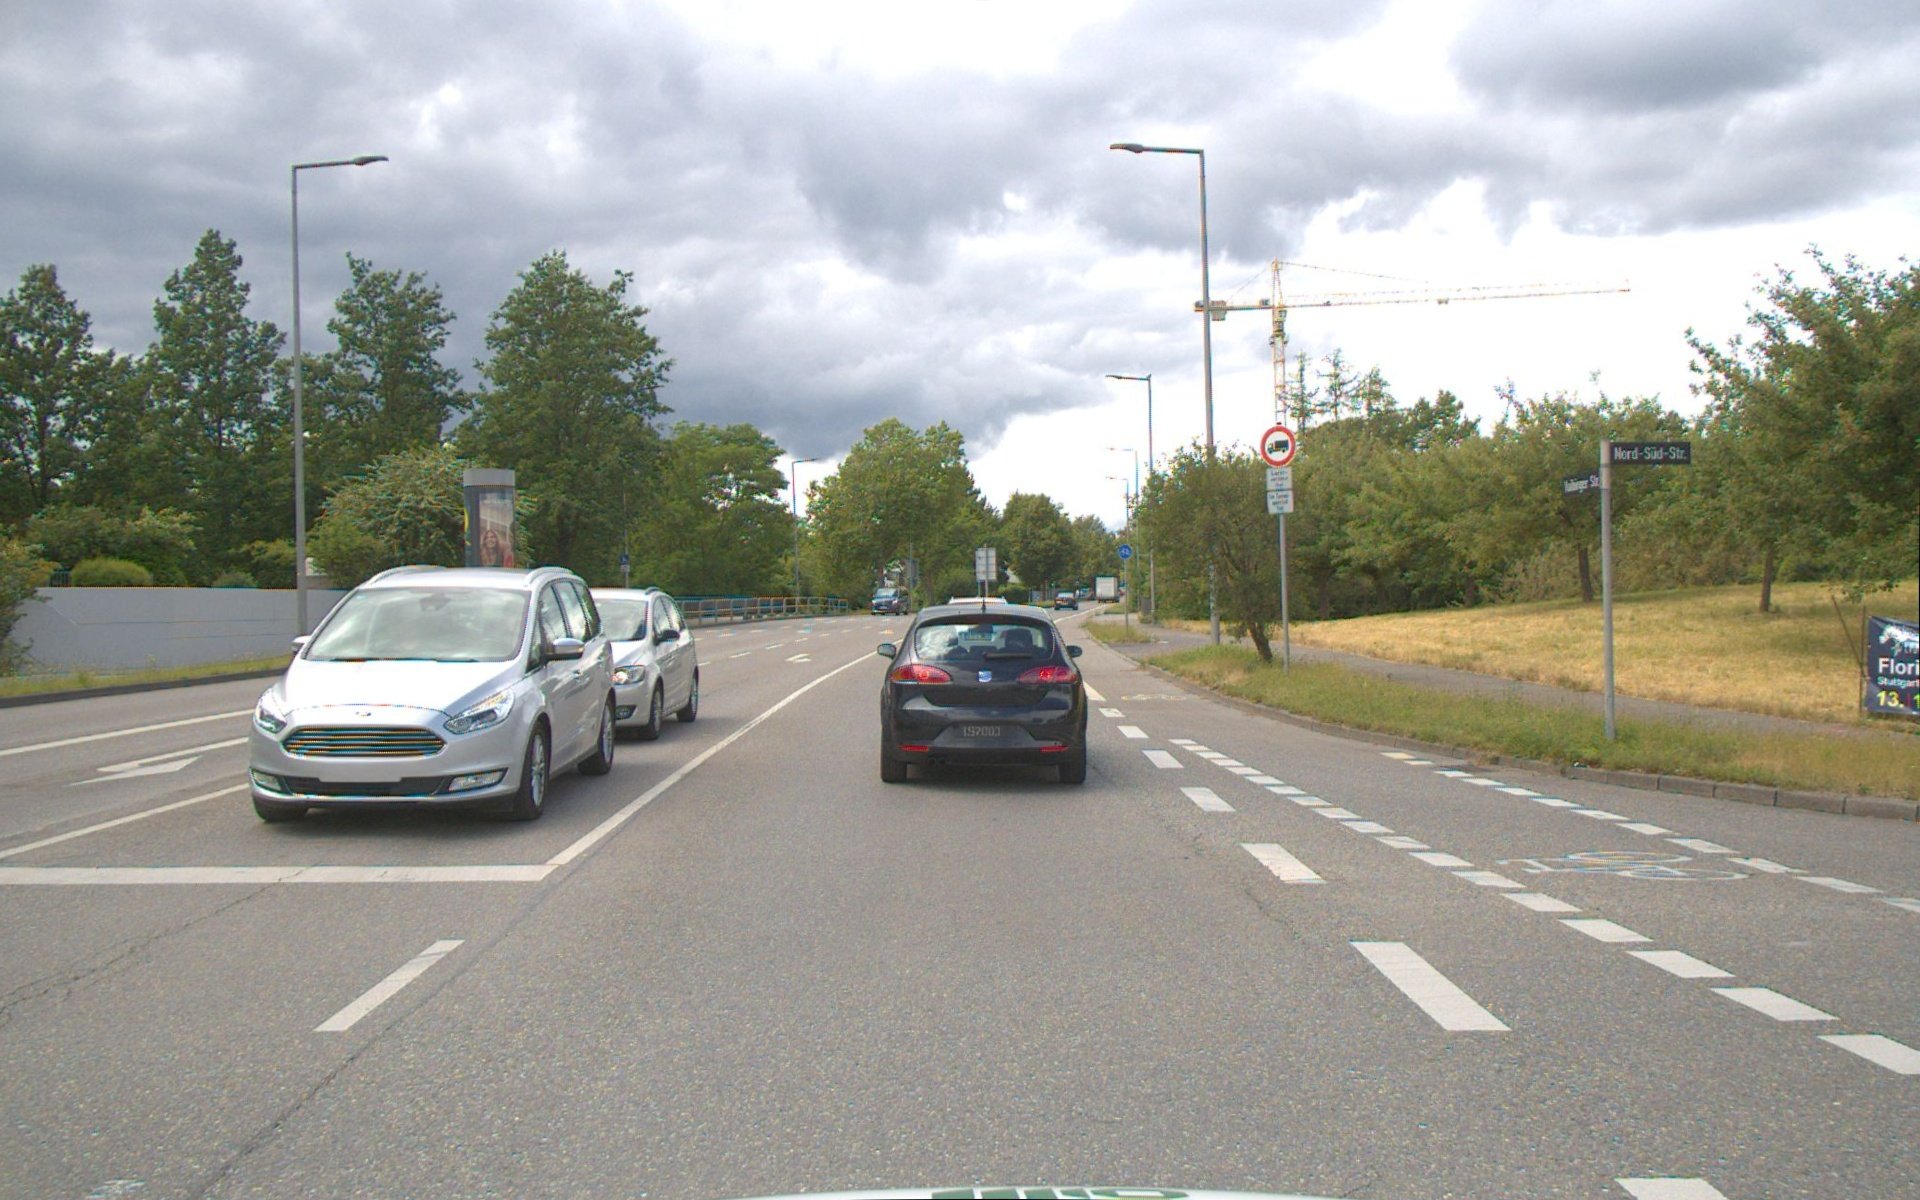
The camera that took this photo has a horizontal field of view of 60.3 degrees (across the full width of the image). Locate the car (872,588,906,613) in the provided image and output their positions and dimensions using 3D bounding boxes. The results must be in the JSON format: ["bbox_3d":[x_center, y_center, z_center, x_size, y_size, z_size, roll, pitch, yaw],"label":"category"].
[{"bbox_3d":[-4.811,0.043,112.115,1.678,1.609,3.745,1,-1,7],"label":"car"}]

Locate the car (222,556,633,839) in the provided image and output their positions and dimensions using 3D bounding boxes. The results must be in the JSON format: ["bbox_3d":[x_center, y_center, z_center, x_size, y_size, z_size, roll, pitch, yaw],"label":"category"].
[{"bbox_3d":[-3.713,0.585,12.446,1.784,1.716,4.642,1,0,-3],"label":"car"}]

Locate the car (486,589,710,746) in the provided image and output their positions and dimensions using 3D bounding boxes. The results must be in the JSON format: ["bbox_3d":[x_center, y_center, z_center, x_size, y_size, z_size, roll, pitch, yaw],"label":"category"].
[{"bbox_3d":[-3.900,0.658,18.450,1.626,1.545,4.084,1,0,-1],"label":"car"}]

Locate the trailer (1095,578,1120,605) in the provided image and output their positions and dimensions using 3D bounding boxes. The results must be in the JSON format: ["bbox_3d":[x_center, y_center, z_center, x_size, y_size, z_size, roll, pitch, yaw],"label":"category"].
[{"bbox_3d":[18.034,-1.000,201.843,2.438,3.127,5.591,1,-1,11],"label":"trailer"}]

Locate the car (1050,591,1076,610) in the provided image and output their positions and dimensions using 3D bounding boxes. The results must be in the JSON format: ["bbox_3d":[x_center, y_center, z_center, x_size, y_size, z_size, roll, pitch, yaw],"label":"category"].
[{"bbox_3d":[8.587,0.025,137.458,1.951,1.593,4.474,0,0,6],"label":"car"}]

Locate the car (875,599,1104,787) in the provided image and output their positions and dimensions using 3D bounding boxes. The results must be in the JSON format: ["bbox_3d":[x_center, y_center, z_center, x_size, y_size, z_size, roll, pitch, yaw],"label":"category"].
[{"bbox_3d":[0.145,0.726,14.562,1.678,1.442,3.456,1,0,-5],"label":"car"}]

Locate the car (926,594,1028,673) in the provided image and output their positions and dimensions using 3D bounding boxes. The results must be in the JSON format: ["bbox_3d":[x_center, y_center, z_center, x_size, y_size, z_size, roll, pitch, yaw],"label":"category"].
[{"bbox_3d":[0.289,0.664,33.653,1.798,1.493,3.748,1,-1,-4],"label":"car"}]
